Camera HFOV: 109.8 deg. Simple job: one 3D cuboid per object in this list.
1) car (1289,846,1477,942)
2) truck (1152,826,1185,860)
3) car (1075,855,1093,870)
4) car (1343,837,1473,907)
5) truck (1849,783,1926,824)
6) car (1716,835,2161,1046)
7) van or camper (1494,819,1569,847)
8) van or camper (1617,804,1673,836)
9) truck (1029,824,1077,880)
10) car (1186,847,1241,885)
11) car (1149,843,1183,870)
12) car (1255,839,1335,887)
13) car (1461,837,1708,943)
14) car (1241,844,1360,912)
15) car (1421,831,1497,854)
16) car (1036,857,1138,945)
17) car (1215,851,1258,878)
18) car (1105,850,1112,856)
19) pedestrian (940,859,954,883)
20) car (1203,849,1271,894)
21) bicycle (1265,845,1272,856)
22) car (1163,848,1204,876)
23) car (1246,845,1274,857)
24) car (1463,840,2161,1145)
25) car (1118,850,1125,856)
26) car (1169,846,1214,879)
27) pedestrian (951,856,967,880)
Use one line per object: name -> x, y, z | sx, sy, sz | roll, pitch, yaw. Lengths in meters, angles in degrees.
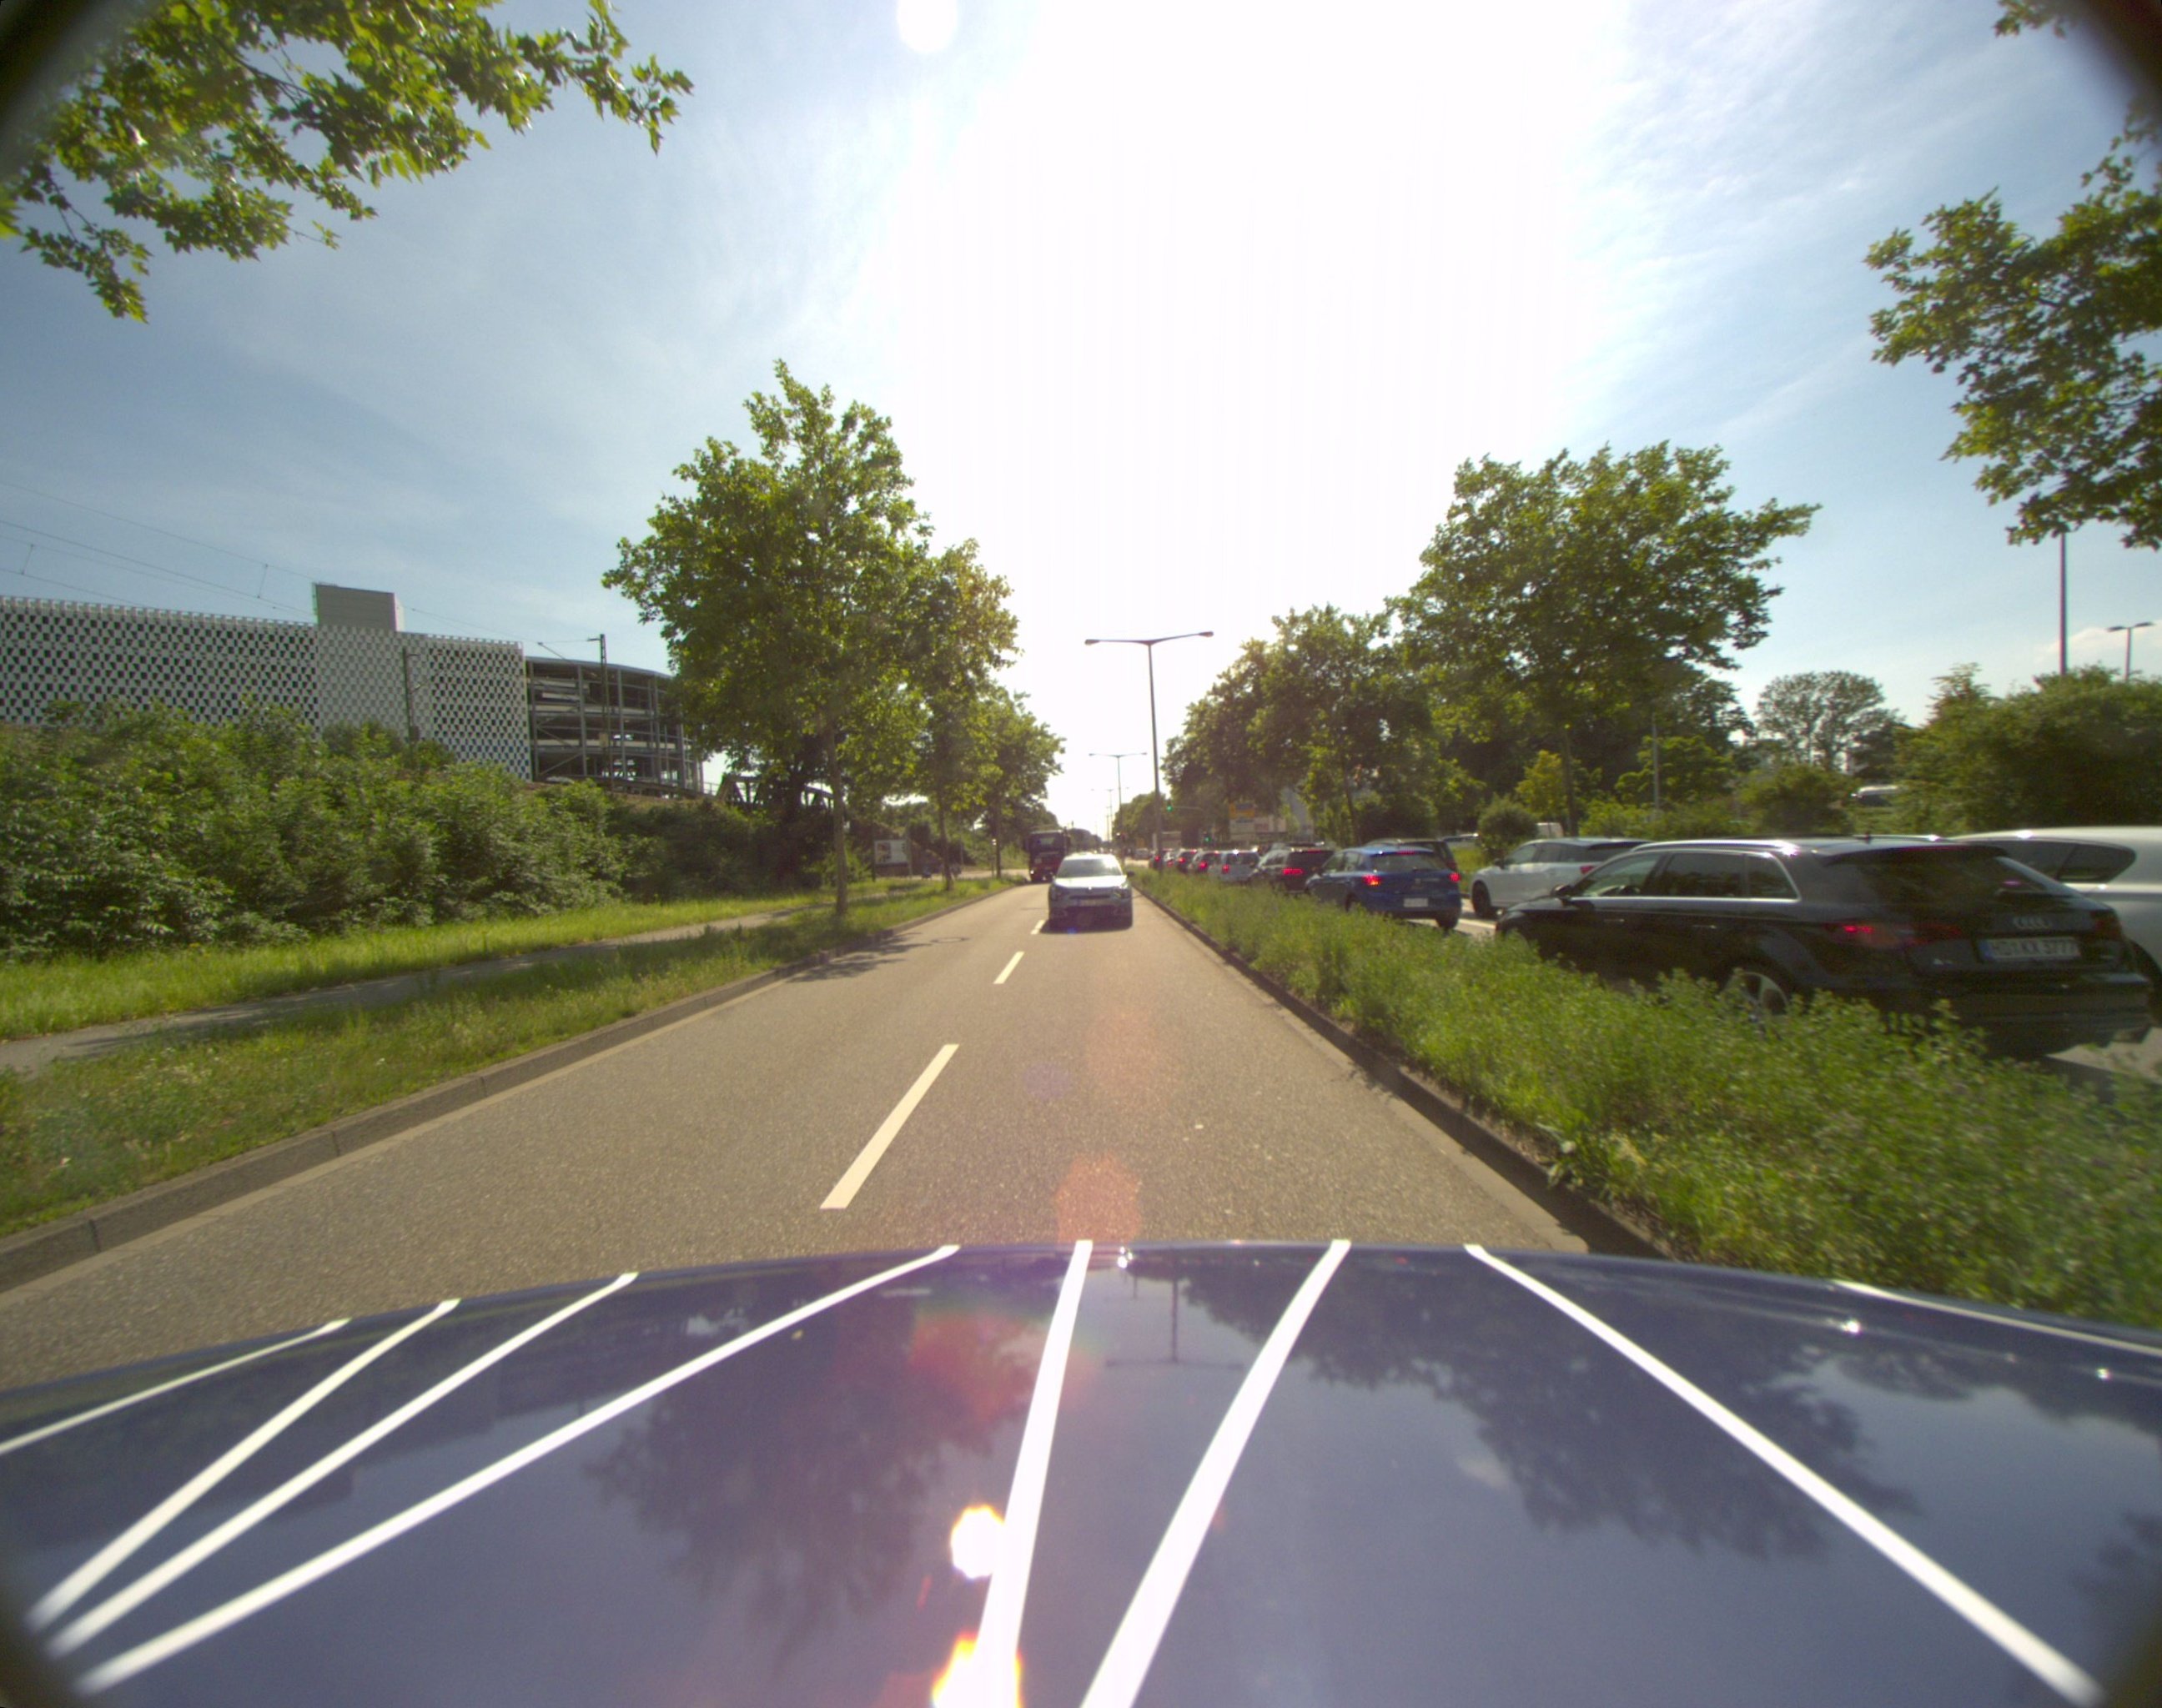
car -> 5.388, 0.633, 14.211 | 1.789, 1.480, 4.211 | -2, 0, 0
truck -> 9.427, -1.173, 82.060 | 2.811, 3.451, 6.691 | -1, 0, 1
car -> 0.408, 0.966, 86.321 | 1.826, 1.521, 4.548 | -3, 0, 2
car -> 8.613, 0.440, 20.419 | 1.693, 1.637, 4.178 | -2, 0, 1
truck -> 65.031, -4.073, 61.171 | 9.630, 2.875, 2.919 | -3, 0, -36
car -> 8.415, 0.588, 6.826 | 1.736, 1.443, 4.428 | -2, 0, 1
van or camper -> 41.390, -1.925, 69.939 | 2.199, 2.197, 5.506 | -4, 1, -33
van or camper -> 61.016, -3.638, 82.144 | 6.334, 3.082, 2.706 | -4, 1, -33
truck -> -1.808, -0.131, 49.920 | 2.776, 3.248, 7.481 | -3, 0, -1
car -> 5.599, 0.484, 32.542 | 1.693, 1.465, 4.218 | -1, 0, 1
car -> 5.860, 0.130, 52.778 | 1.824, 1.637, 4.693 | -2, 1, 1
car -> 8.625, 0.295, 31.074 | 1.826, 1.727, 4.767 | -2, 1, -1
car -> 8.436, 0.532, 13.218 | 1.693, 1.521, 3.939 | -2, 0, 1
car -> 5.570, 0.556, 19.954 | 1.762, 1.521, 4.827 | -2, 0, 1
car -> 28.311, -0.842, 56.967 | 4.576, 1.406, 2.199 | -3, 1, -6
car -> 0.202, 0.870, 16.229 | 1.825, 1.521, 4.752 | -1, 0, 2
car -> 9.088, 0.591, 44.634 | 1.693, 1.521, 4.083 | -1, 0, 0
car -> 9.060, -0.388, 249.942 | 1.998, 2.002, 4.000 | -3, 0, 1
pedestrian -> -9.260, 1.161, 52.382 | 0.731, 1.570, 0.777 | -3, 1, 0
car -> 5.501, 0.581, 27.225 | 1.693, 1.463, 3.814 | -2, 0, 1
bicycle -> 18.882, -0.324, 76.622 | 0.595, 1.031, 1.897 | -3, 1, 15
car -> 5.804, 0.419, 43.608 | 1.801, 1.459, 4.523 | -2, 0, 1
car -> 26.042, -0.423, 110.495 | 4.006, 1.441, 1.843 | -3, 0, -36
car -> 5.066, 0.678, 5.985 | 1.828, 1.457, 4.450 | -2, 0, 0
car -> 12.035, -0.332, 226.519 | 1.653, 1.505, 3.736 | -3, 0, 1
car -> 5.678, 0.404, 39.449 | 1.693, 1.577, 4.240 | -2, 0, 1
pedestrian -> -8.319, 0.964, 51.931 | 0.870, 1.602, 0.777 | -3, 1, 0
